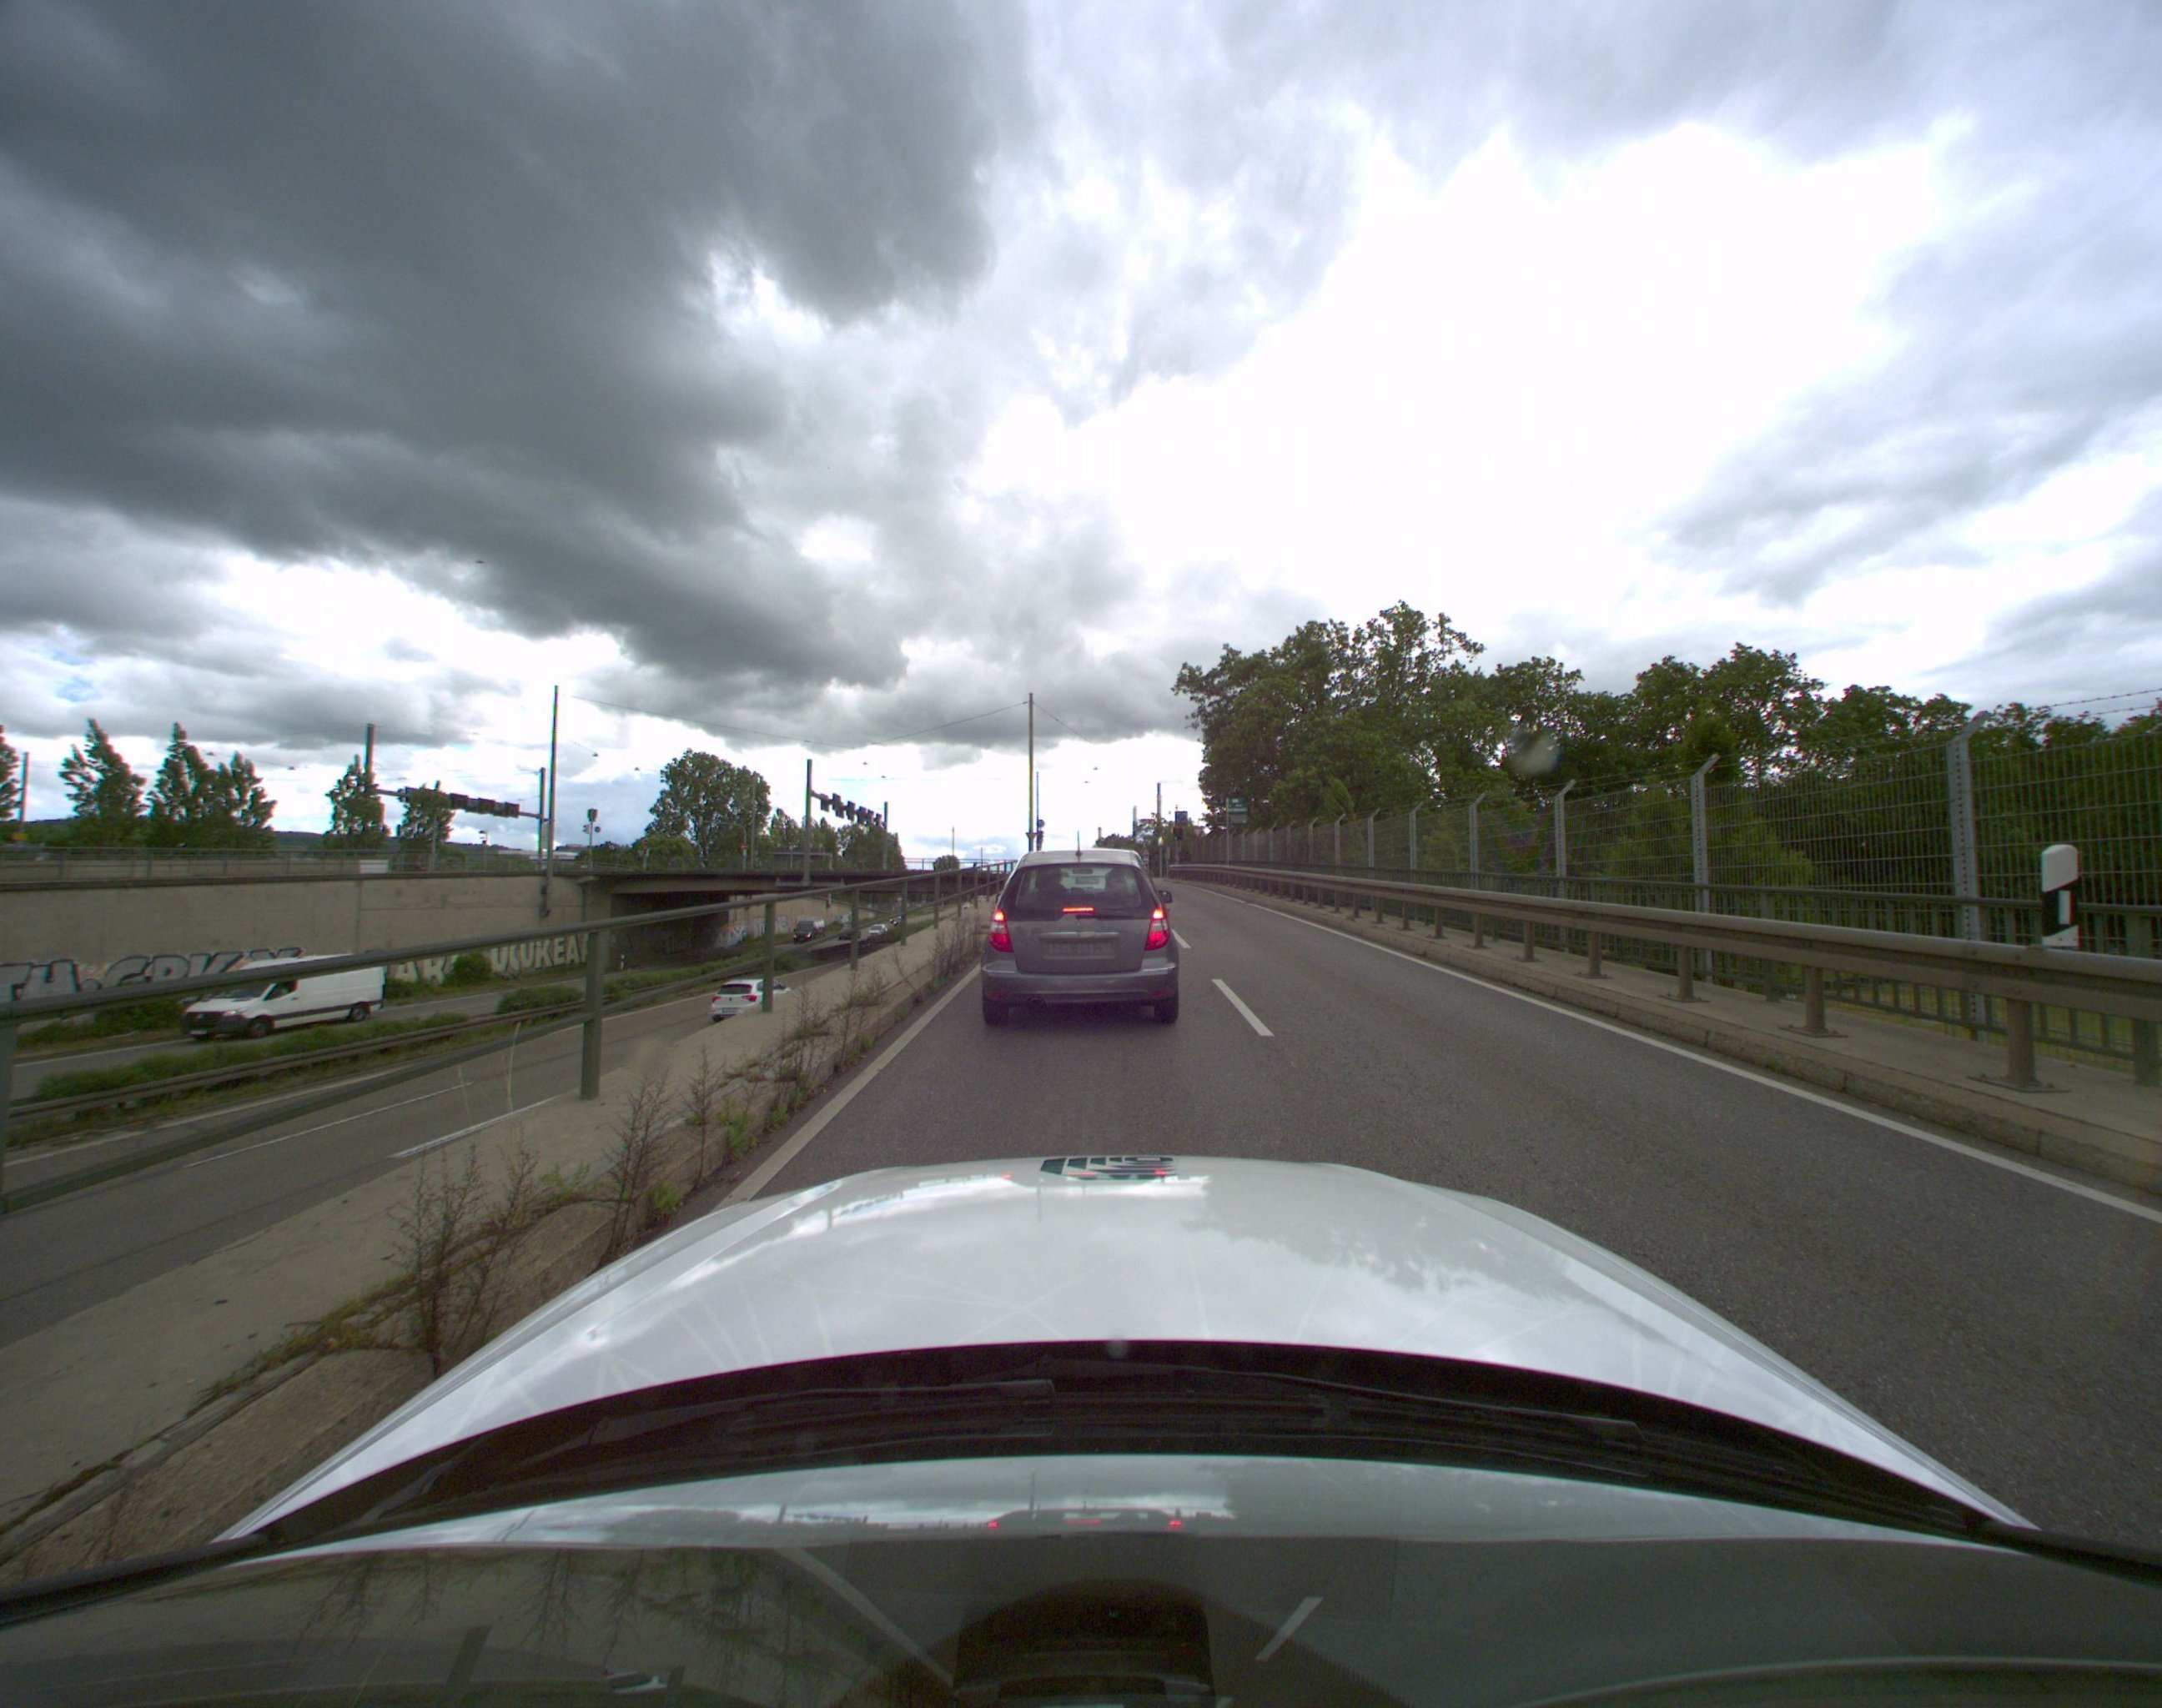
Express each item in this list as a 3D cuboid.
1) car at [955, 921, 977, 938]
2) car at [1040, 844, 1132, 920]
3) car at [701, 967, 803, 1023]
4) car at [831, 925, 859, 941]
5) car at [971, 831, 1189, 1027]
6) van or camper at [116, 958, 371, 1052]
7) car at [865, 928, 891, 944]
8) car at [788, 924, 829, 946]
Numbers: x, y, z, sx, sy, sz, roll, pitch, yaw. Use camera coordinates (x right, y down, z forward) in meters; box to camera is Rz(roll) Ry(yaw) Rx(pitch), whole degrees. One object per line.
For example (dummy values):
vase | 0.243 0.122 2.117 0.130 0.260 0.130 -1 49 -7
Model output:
car | -12.727 8.376 90.426 1.674 1.736 3.999 -2 -3 2
car | 0.158 0.593 19.948 1.986 1.603 4.002 -1 1 1
car | -12.035 5.135 30.076 1.845 1.500 4.004 -1 -3 5
car | -27.205 9.090 93.888 1.987 1.662 3.999 0 -4 0
car | 0.240 0.664 8.721 1.740 1.581 4.093 -1 -2 8
van or camper | -28.791 5.101 28.499 2.175 2.457 6.345 0 -4 0
car | -23.395 9.421 94.081 1.987 1.662 3.999 0 -4 1
car | -29.797 8.854 89.254 2.282 2.156 6.183 -1 -4 1
